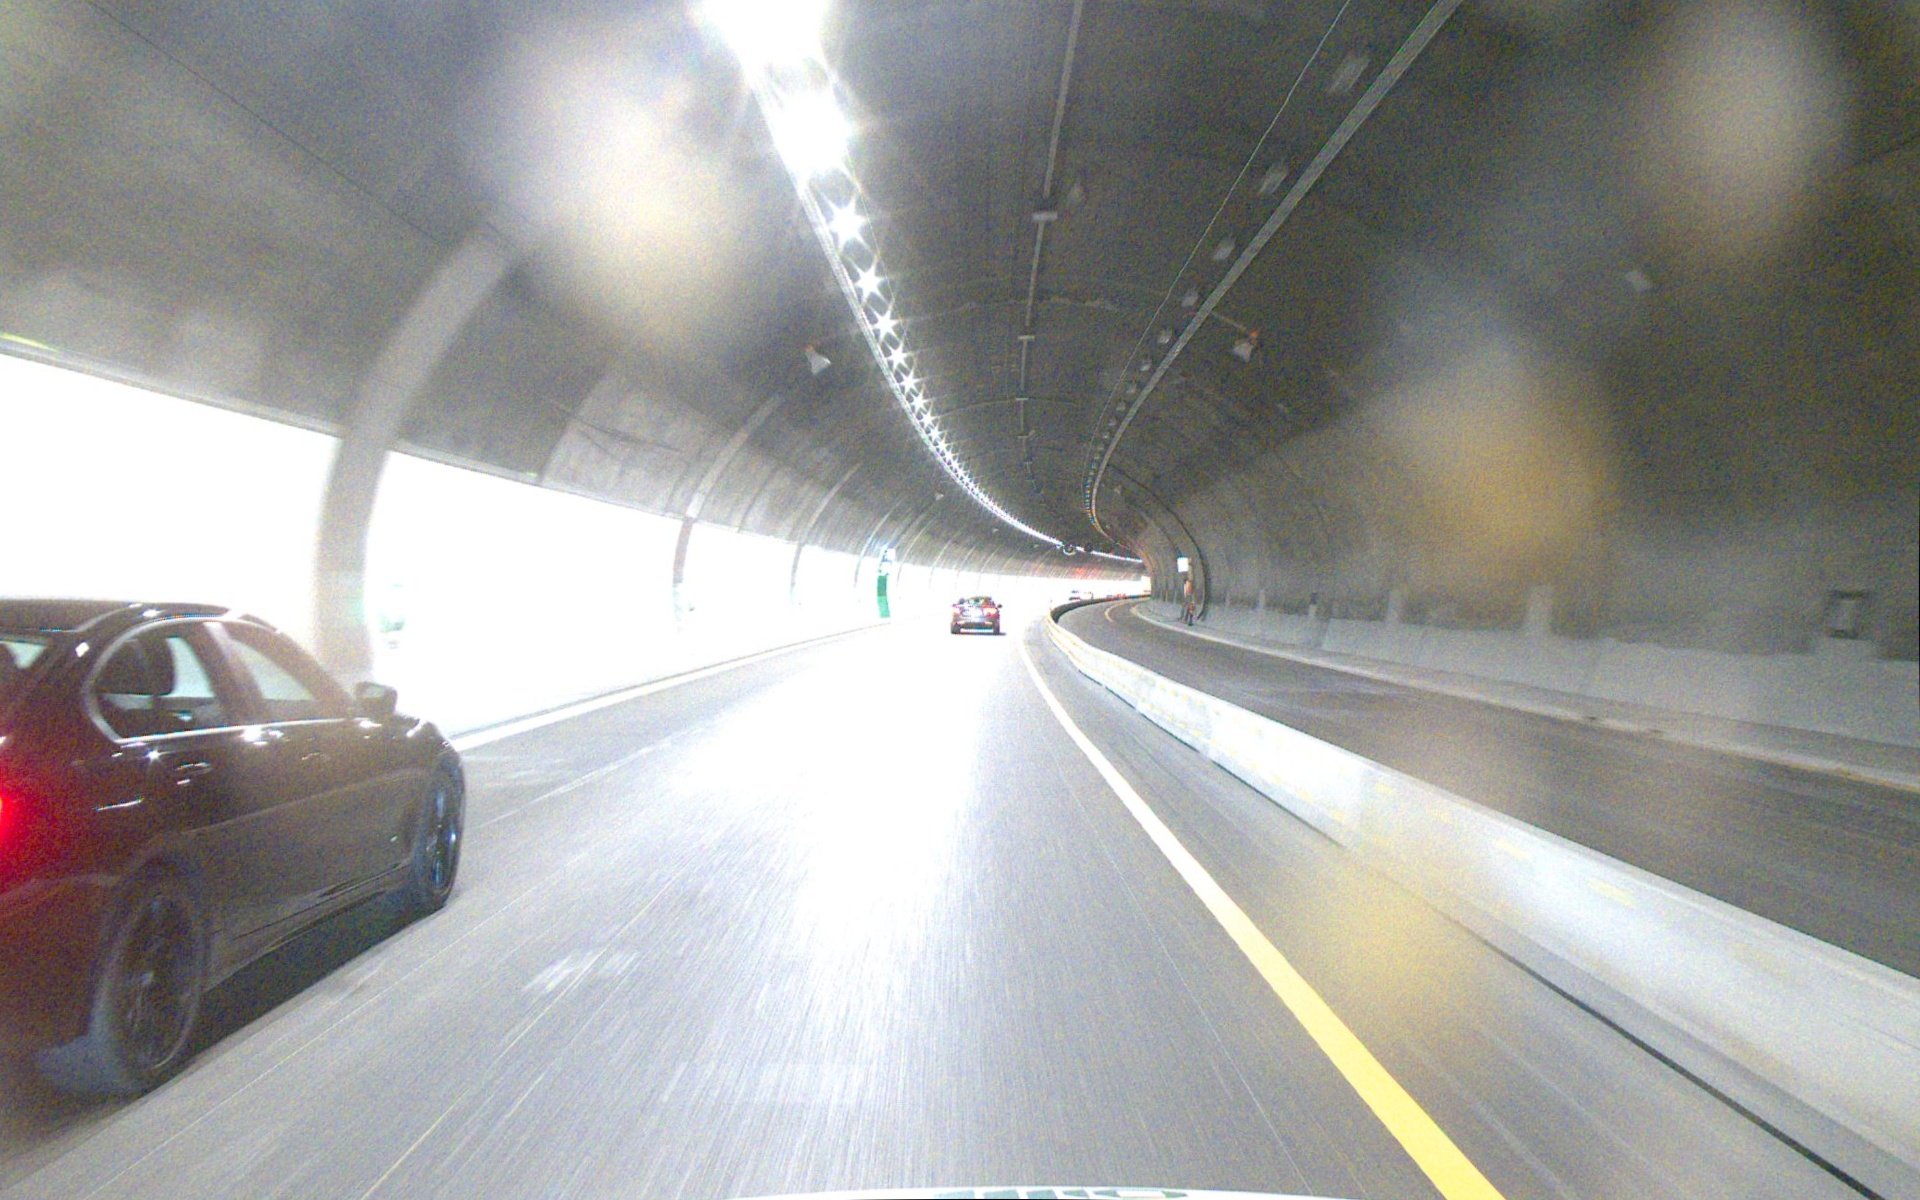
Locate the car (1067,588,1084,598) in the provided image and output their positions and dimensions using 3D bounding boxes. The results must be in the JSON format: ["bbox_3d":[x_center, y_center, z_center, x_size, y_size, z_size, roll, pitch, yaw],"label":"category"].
[{"bbox_3d":[17.124,-1.009,245.270,2.118,1.512,4.004,0,1,10],"label":"car"}]

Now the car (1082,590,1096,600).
[{"bbox_3d":[17.791,-0.735,227.345,1.561,1.356,3.754,1,0,10],"label":"car"}]

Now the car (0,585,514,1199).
[{"bbox_3d":[-3.181,0.686,6.095,1.741,1.463,4.883,1,0,0],"label":"car"}]

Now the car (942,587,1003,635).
[{"bbox_3d":[0.512,0.398,62.798,2.096,1.735,4.002,0,0,3],"label":"car"}]
